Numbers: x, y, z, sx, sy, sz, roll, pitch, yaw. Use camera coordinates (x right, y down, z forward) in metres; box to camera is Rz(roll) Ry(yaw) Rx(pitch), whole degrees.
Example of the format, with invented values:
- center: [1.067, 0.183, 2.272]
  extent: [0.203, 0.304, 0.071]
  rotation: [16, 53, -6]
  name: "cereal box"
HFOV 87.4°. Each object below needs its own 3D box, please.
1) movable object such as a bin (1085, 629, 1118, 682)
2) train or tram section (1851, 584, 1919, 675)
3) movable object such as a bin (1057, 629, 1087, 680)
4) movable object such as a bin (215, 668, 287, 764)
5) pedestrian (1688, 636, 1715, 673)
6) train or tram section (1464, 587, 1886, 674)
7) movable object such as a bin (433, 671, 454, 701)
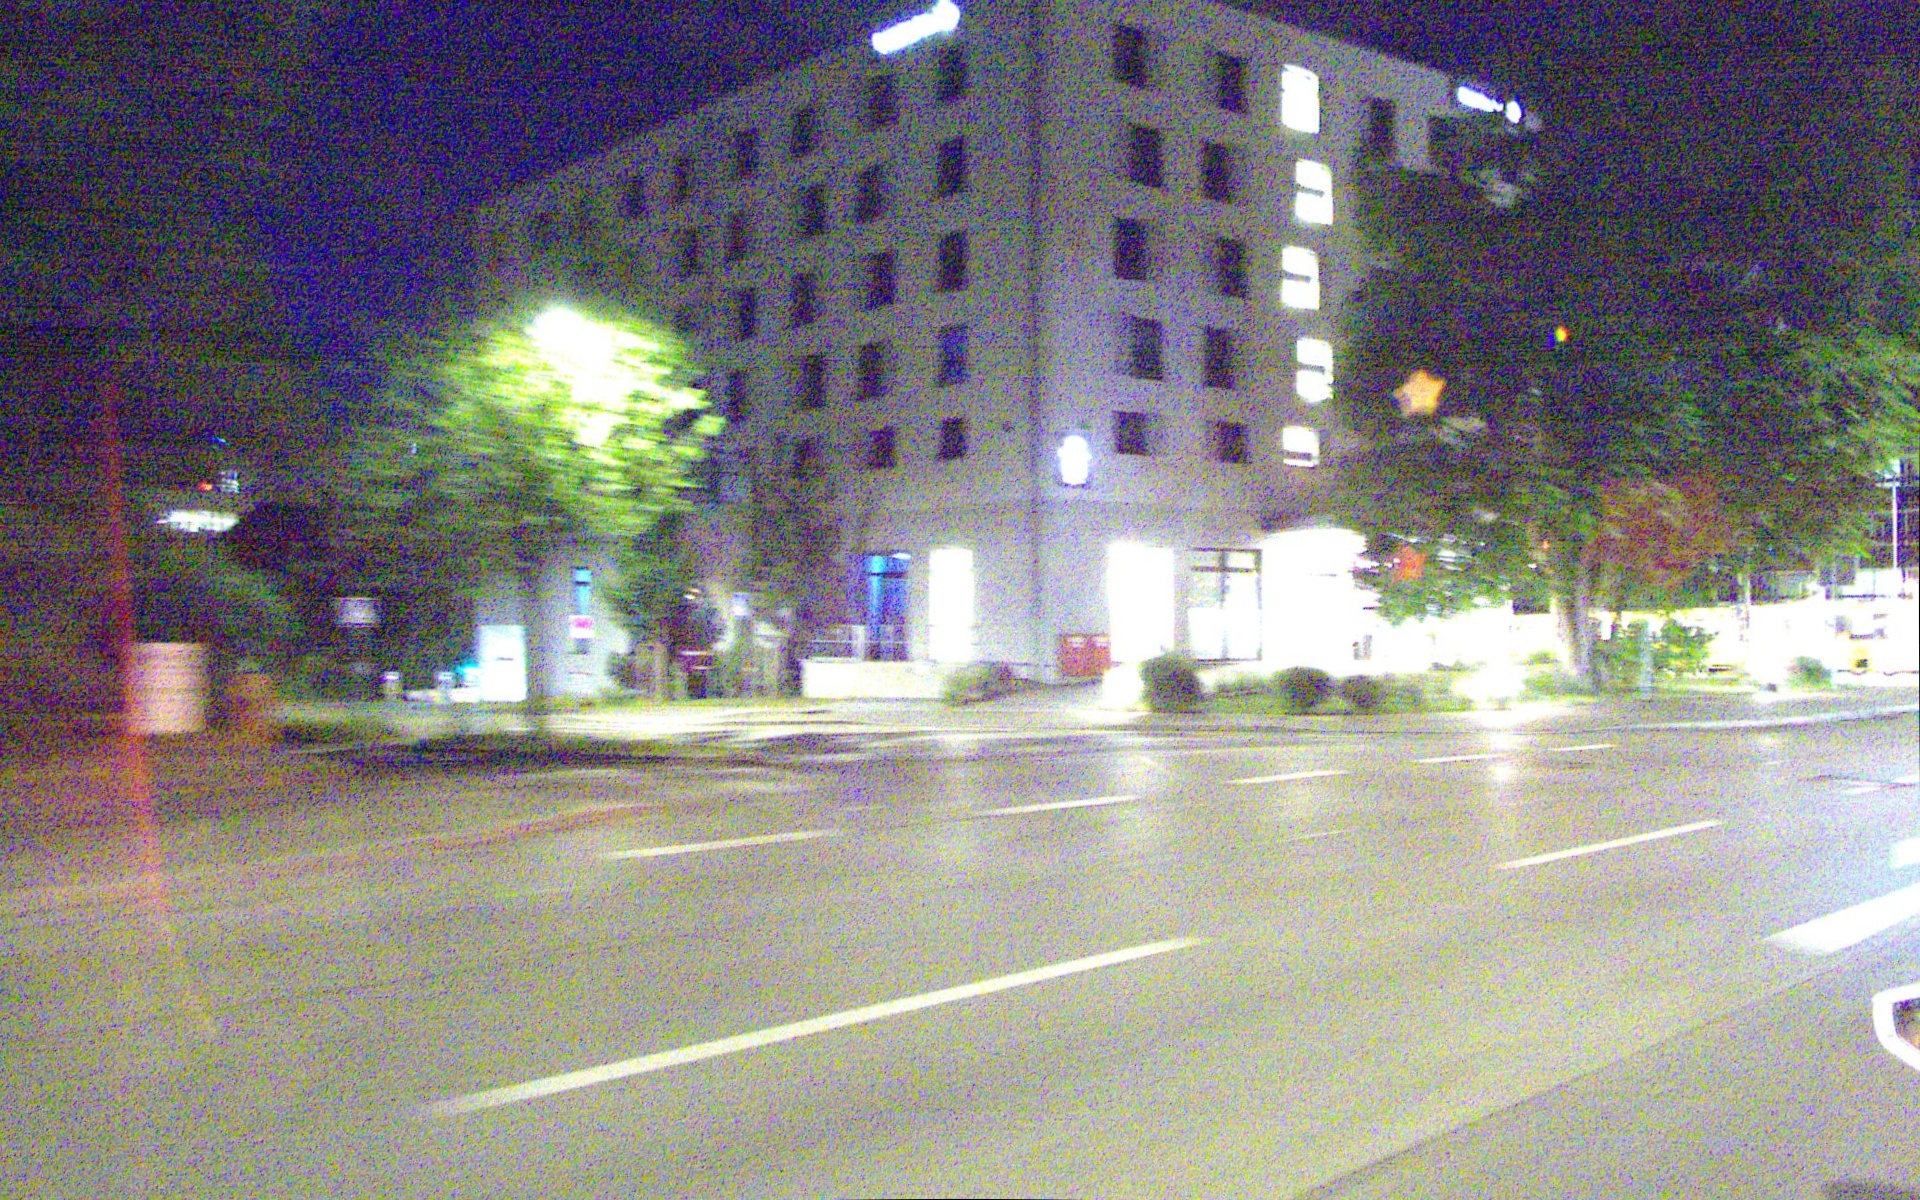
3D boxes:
- center: [4.057, 1.581, 28.721]
  extent: [0.798, 1.471, 0.439]
  rotation: [0, -2, -28]
  name: "movable object such as a bin"
- center: [45.275, 0.936, 36.942]
  extent: [2.884, 3.873, 19.122]
  rotation: [1, -3, -25]
  name: "train or tram section"
- center: [3.175, 1.547, 28.409]
  extent: [0.723, 1.388, 0.354]
  rotation: [-2, -1, -30]
  name: "movable object such as a bin"
- center: [-10.111, 1.635, 14.332]
  extent: [0.608, 1.324, 0.569]
  rotation: [-2, -4, 21]
  name: "movable object such as a bin"
- center: [36.095, 2.671, 48.901]
  extent: [0.651, 1.760, 0.761]
  rotation: [0, -3, -30]
  name: "pedestrian"
- center: [37.069, 1.834, 54.525]
  extent: [2.900, 3.912, 19.739]
  rotation: [1, -3, -25]
  name: "train or tram section"
- center: [-22.961, 3.814, 44.649]
  extent: [0.608, 1.324, 0.569]
  rotation: [-2, -4, 21]
  name: "movable object such as a bin"
